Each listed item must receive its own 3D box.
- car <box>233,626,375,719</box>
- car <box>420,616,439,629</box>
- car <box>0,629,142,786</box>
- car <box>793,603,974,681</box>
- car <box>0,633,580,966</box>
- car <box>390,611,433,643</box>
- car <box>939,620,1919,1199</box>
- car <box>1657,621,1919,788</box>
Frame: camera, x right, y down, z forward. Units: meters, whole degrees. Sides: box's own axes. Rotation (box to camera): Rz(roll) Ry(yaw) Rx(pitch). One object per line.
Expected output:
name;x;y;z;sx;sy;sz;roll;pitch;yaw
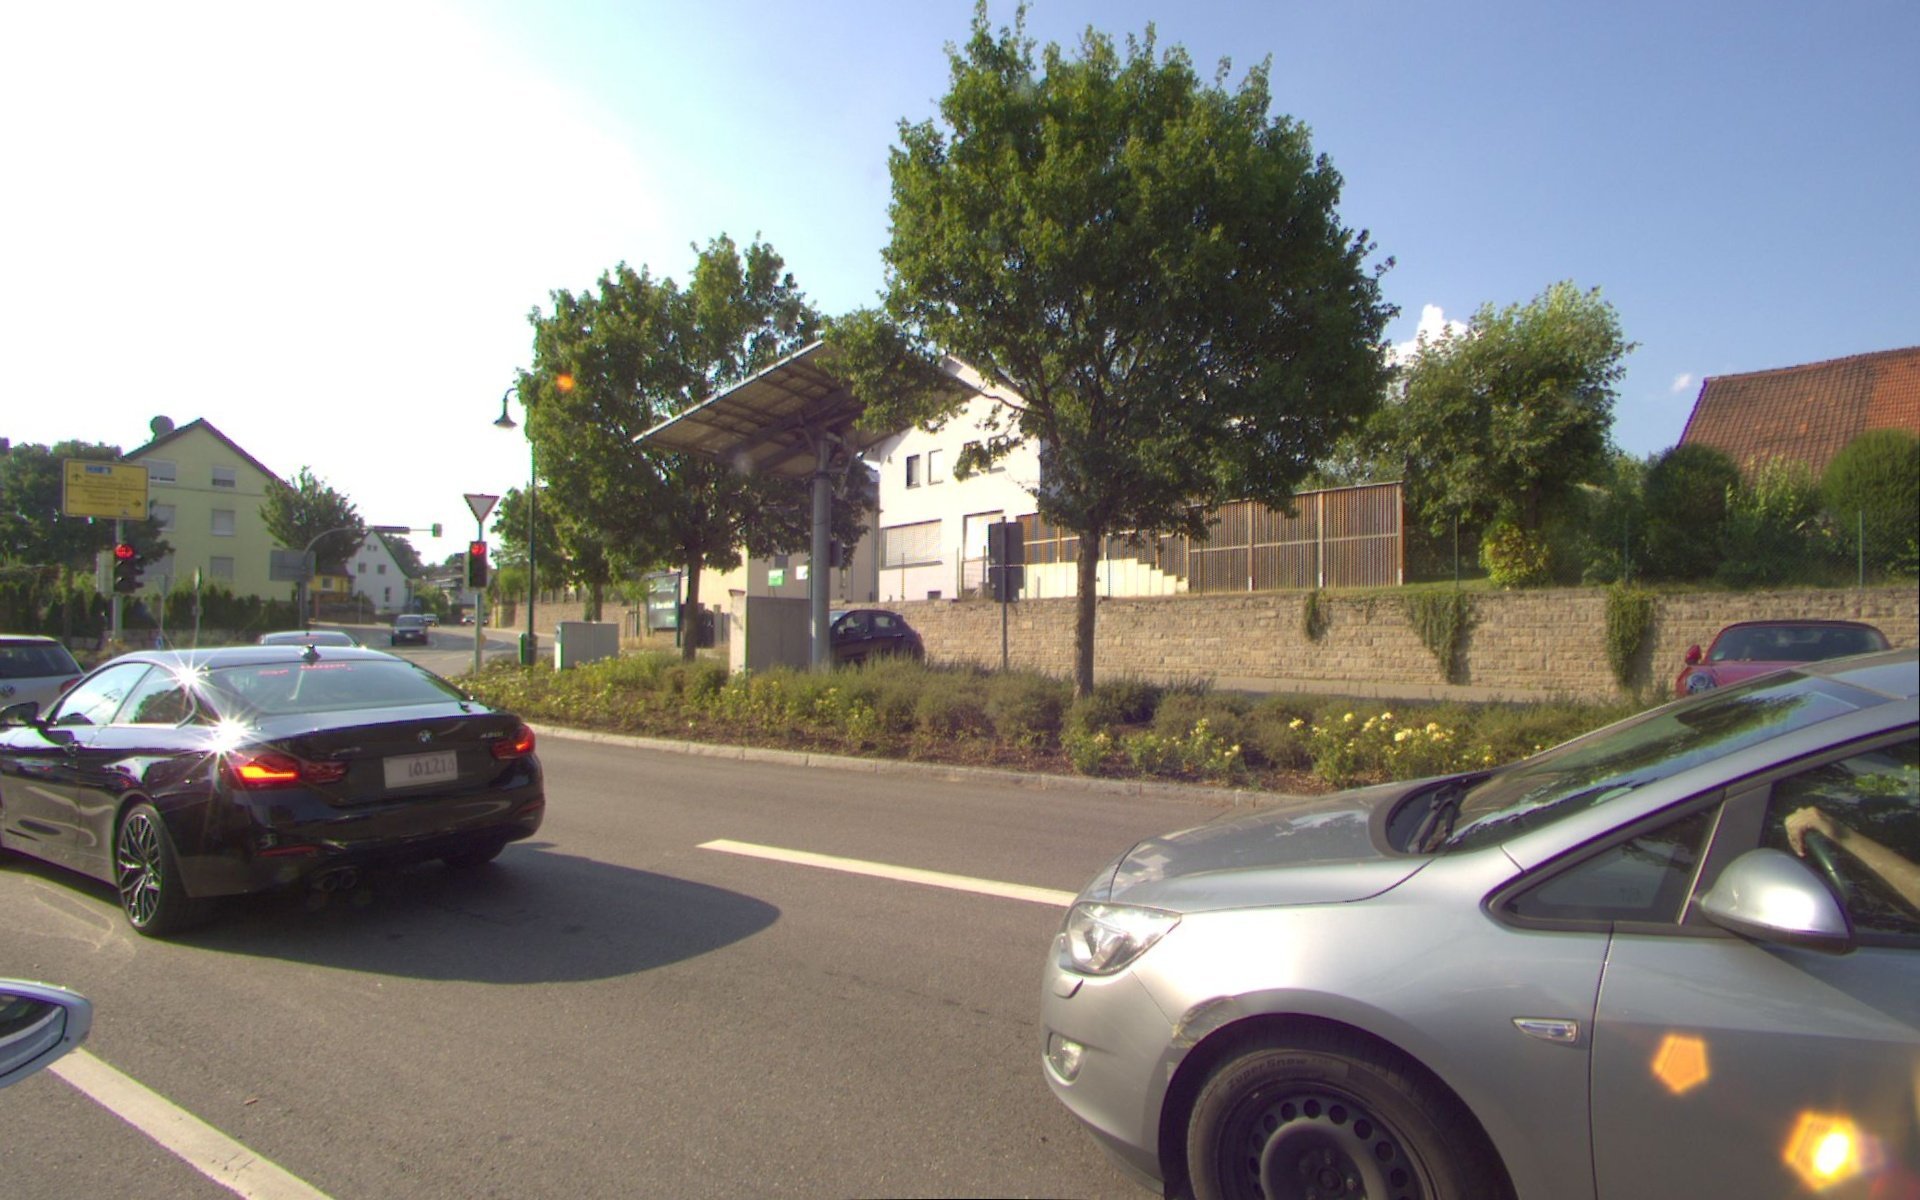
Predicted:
car;-11.804;1.197;17.890;1.668;1.454;4.552;1;-2;-39
car;-60.012;2.503;113.339;1.689;1.261;3.982;1;2;-25
car;-10.622;1.036;10.659;4.287;1.465;1.812;-1;-2;34
car;-1.697;0.957;23.095;1.835;1.628;3.964;-1;-2;45
car;-4.468;0.915;6.234;4.287;1.406;1.812;-1;-2;34
car;-30.282;1.463;55.383;1.763;1.528;4.052;-1;2;-25
car;2.138;0.782;2.198;4.107;1.460;1.741;-1;-2;32
car;8.242;0.873;9.676;1.835;1.288;3.964;-1;-2;45
